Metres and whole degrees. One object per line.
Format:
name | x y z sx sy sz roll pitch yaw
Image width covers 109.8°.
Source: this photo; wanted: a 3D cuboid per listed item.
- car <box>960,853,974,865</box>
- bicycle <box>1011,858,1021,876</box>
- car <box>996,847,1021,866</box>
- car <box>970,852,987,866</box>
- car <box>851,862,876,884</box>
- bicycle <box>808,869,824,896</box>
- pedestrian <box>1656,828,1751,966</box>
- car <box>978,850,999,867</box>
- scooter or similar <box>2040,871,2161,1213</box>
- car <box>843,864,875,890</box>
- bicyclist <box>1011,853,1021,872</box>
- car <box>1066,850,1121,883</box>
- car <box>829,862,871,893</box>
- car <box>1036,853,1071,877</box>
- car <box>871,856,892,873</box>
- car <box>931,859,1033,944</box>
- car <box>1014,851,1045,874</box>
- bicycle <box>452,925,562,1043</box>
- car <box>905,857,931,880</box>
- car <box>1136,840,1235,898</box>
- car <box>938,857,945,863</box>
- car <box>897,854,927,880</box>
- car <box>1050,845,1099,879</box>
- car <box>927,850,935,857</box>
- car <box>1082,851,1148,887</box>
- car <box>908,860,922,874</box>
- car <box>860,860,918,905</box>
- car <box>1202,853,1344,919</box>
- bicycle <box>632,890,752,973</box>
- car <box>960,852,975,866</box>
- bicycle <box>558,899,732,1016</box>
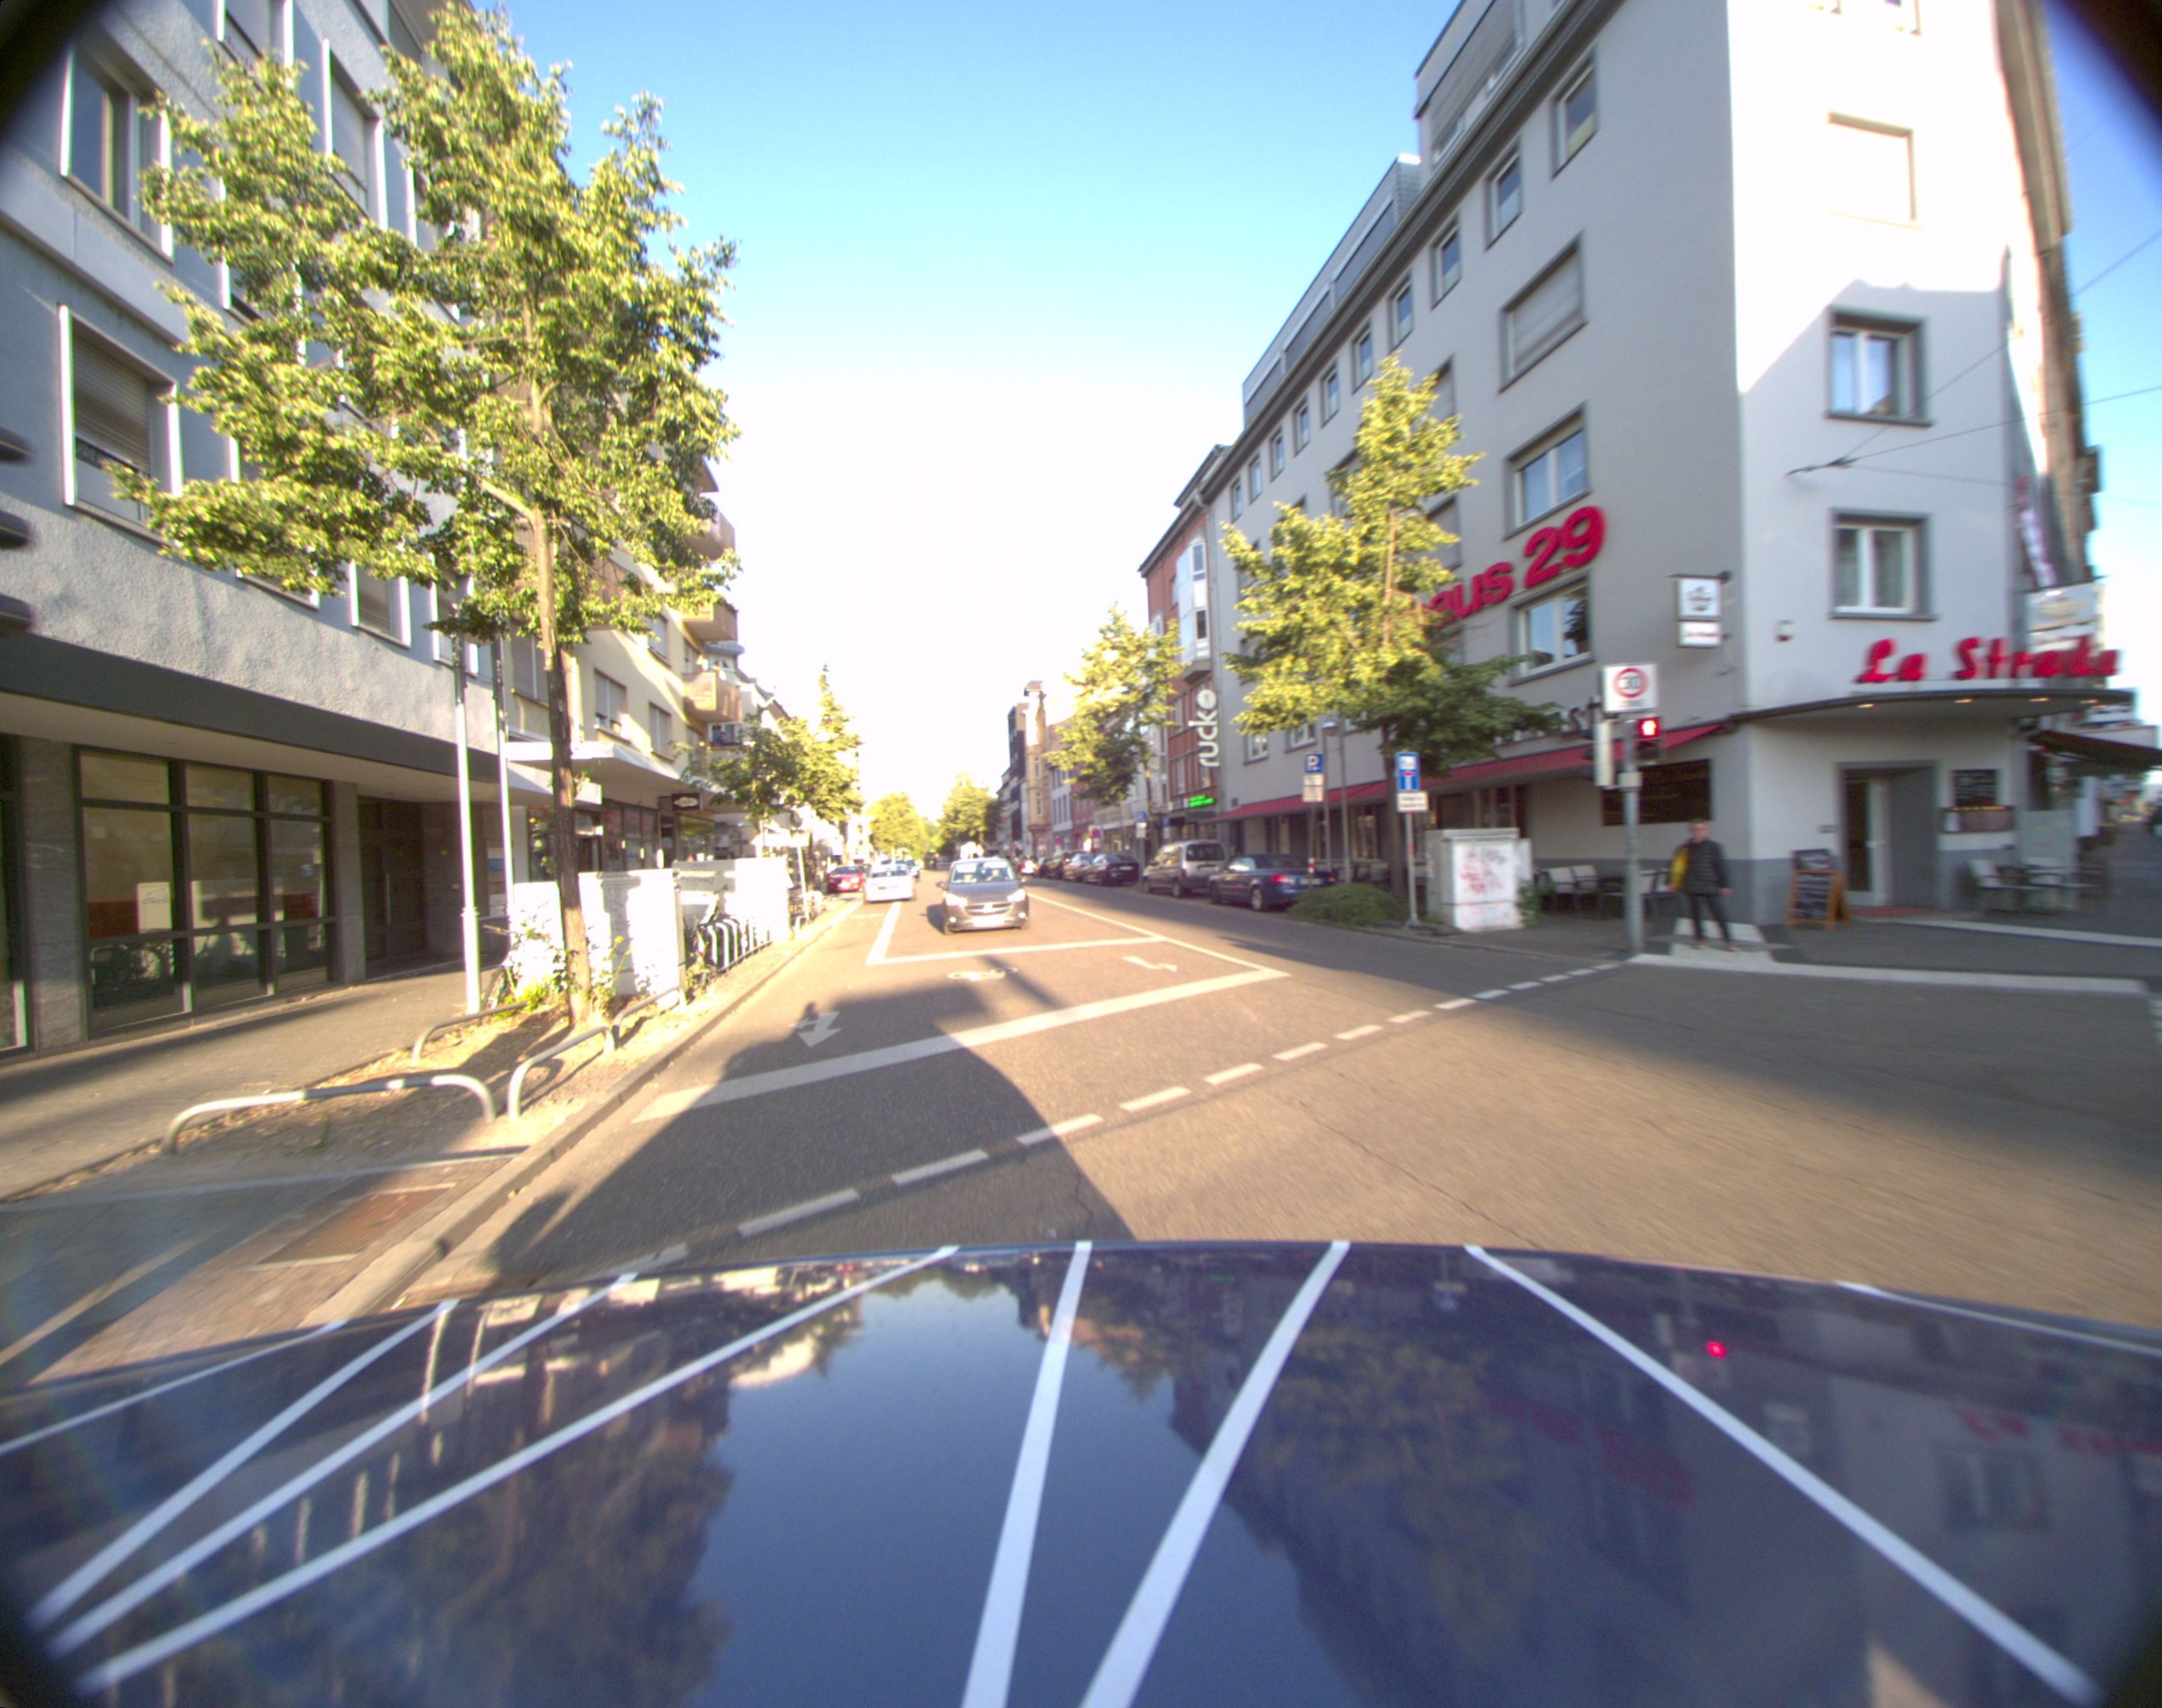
car | -17.311 0.695 115.390 1.767 1.762 3.868 -2 0 -12
bicycle | -4.745 0.957 55.250 0.421 1.230 1.692 -4 2 -14
car | -7.084 0.253 73.828 1.883 1.667 4.032 -4 2 -12
car | -13.152 0.615 97.544 1.767 1.762 3.868 -2 0 -12
car | -15.401 1.314 54.003 1.432 1.443 3.376 -3 1 -13
bicycle | -13.026 1.400 37.418 0.505 1.231 1.710 -1 1 -12
pedestrian | 7.861 0.518 9.604 0.588 1.646 0.798 -3 1 -39
car | -9.847 0.436 80.631 1.797 1.606 3.968 -4 2 -12
scooter or similar | 4.822 0.743 2.726 0.547 1.343 1.665 -3 1 -35
car | -13.666 1.396 47.008 1.616 1.386 3.690 -4 1 -13
bicyclist | -4.742 0.606 55.160 0.569 1.295 0.660 -4 2 -13
car | 0.589 0.617 39.688 1.897 1.590 4.939 -1 0 -11
car | -12.126 1.207 40.118 1.655 1.420 3.996 -4 1 -12
car | -1.909 0.730 52.434 1.738 1.516 3.838 -2 0 -12
car | -19.938 1.061 76.174 1.767 1.563 3.868 -2 1 -12
car | -2.197 0.883 15.971 1.589 1.445 3.837 -3 1 -15
car | -4.150 0.635 60.907 1.878 1.718 4.135 -3 1 -12
bicycle | -6.181 1.350 8.263 0.404 1.004 1.668 -1 0 -17
car | -12.468 1.090 58.034 1.693 1.534 3.726 -4 2 -13
car | 3.338 0.433 25.001 1.721 1.654 3.994 -4 2 -15
car | -40.967 1.768 222.908 1.847 1.796 3.581 -4 2 -7
car | -11.623 0.889 52.424 1.898 1.633 3.745 -3 1 -12
car | -0.466 0.471 46.493 1.975 1.873 4.942 -2 0 -12
car | -36.390 -0.124 183.997 1.673 1.630 3.252 -4 2 -11
car | 1.456 0.611 34.177 1.806 1.385 4.412 -3 1 -13
car | -21.680 1.655 99.174 1.694 1.645 3.729 -4 2 -12
car | -7.164 1.004 28.721 1.792 1.361 4.568 -4 1 -11
car | 4.604 0.688 18.921 1.655 1.345 4.306 -2 1 -13
bicycle | -6.317 1.232 12.419 1.664 1.187 0.493 -3 1 -24
car | -15.840 0.681 105.851 1.789 1.762 3.868 -2 0 -12
bicycle | -5.117 1.190 9.009 1.663 1.187 0.477 -3 1 -17
